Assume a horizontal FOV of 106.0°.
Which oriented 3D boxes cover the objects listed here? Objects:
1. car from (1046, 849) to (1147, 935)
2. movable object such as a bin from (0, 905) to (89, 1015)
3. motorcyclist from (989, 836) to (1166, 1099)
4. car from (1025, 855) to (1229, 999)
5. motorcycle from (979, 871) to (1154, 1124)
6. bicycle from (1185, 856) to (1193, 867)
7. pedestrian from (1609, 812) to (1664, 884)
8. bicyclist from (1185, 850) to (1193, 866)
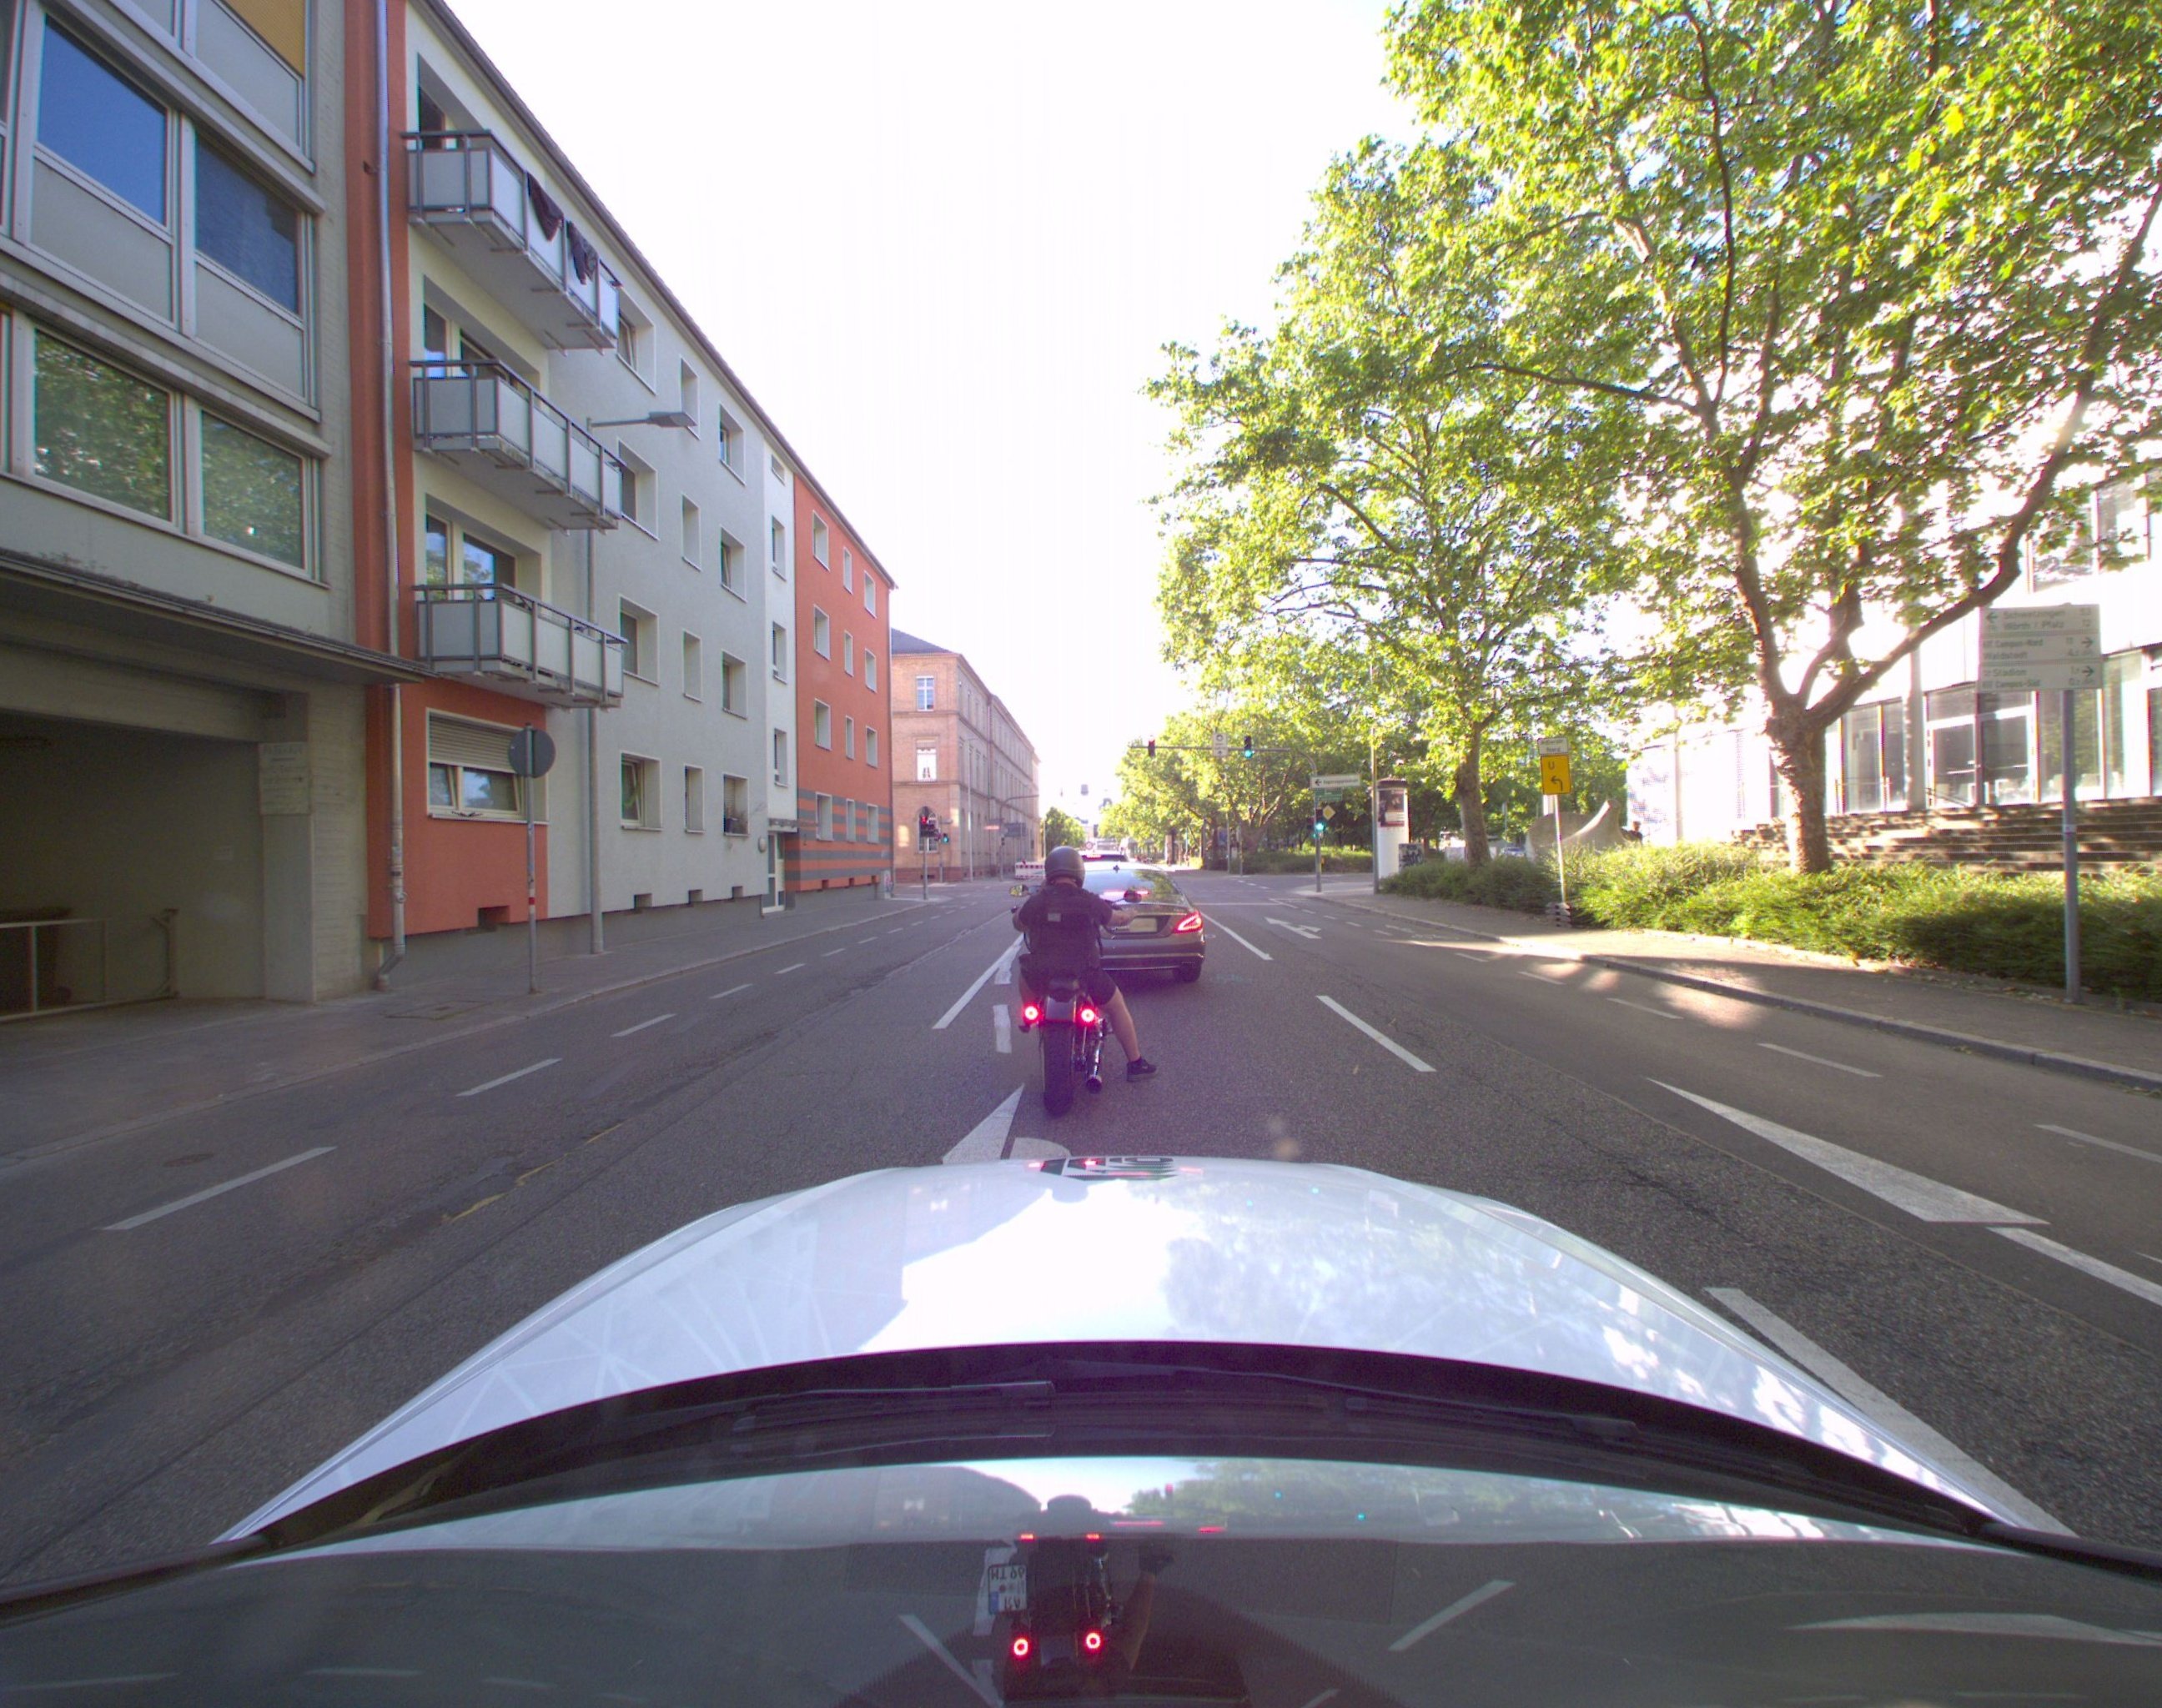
[{"bbox_3d":[0.265,0.698,16.881,1.808,1.536,3.847,-1,0,-1],"label":"car"},{"bbox_3d":[-11.328,1.103,8.633,0.736,1.074,0.716,0,-1,2],"label":"movable object such as a bin"},{"bbox_3d":[-0.009,0.691,5.376,1.057,1.582,0.908,0,-1,1],"label":"motorcyclist"},{"bbox_3d":[0.351,0.760,10.665,1.900,1.441,4.277,-1,0,-7],"label":"car"},{"bbox_3d":[-0.045,0.816,5.646,0.958,1.357,2.321,0,-1,2],"label":"motorcycle"},{"bbox_3d":[11.175,0.786,84.339,0.712,1.172,2.179,0,-1,6],"label":"bicycle"},{"bbox_3d":[14.081,-0.147,20.670,0.781,1.781,0.862,-1,0,0],"label":"pedestrian"},{"bbox_3d":[11.185,0.402,84.370,0.713,1.582,0.937,0,-1,5],"label":"bicyclist"}]
